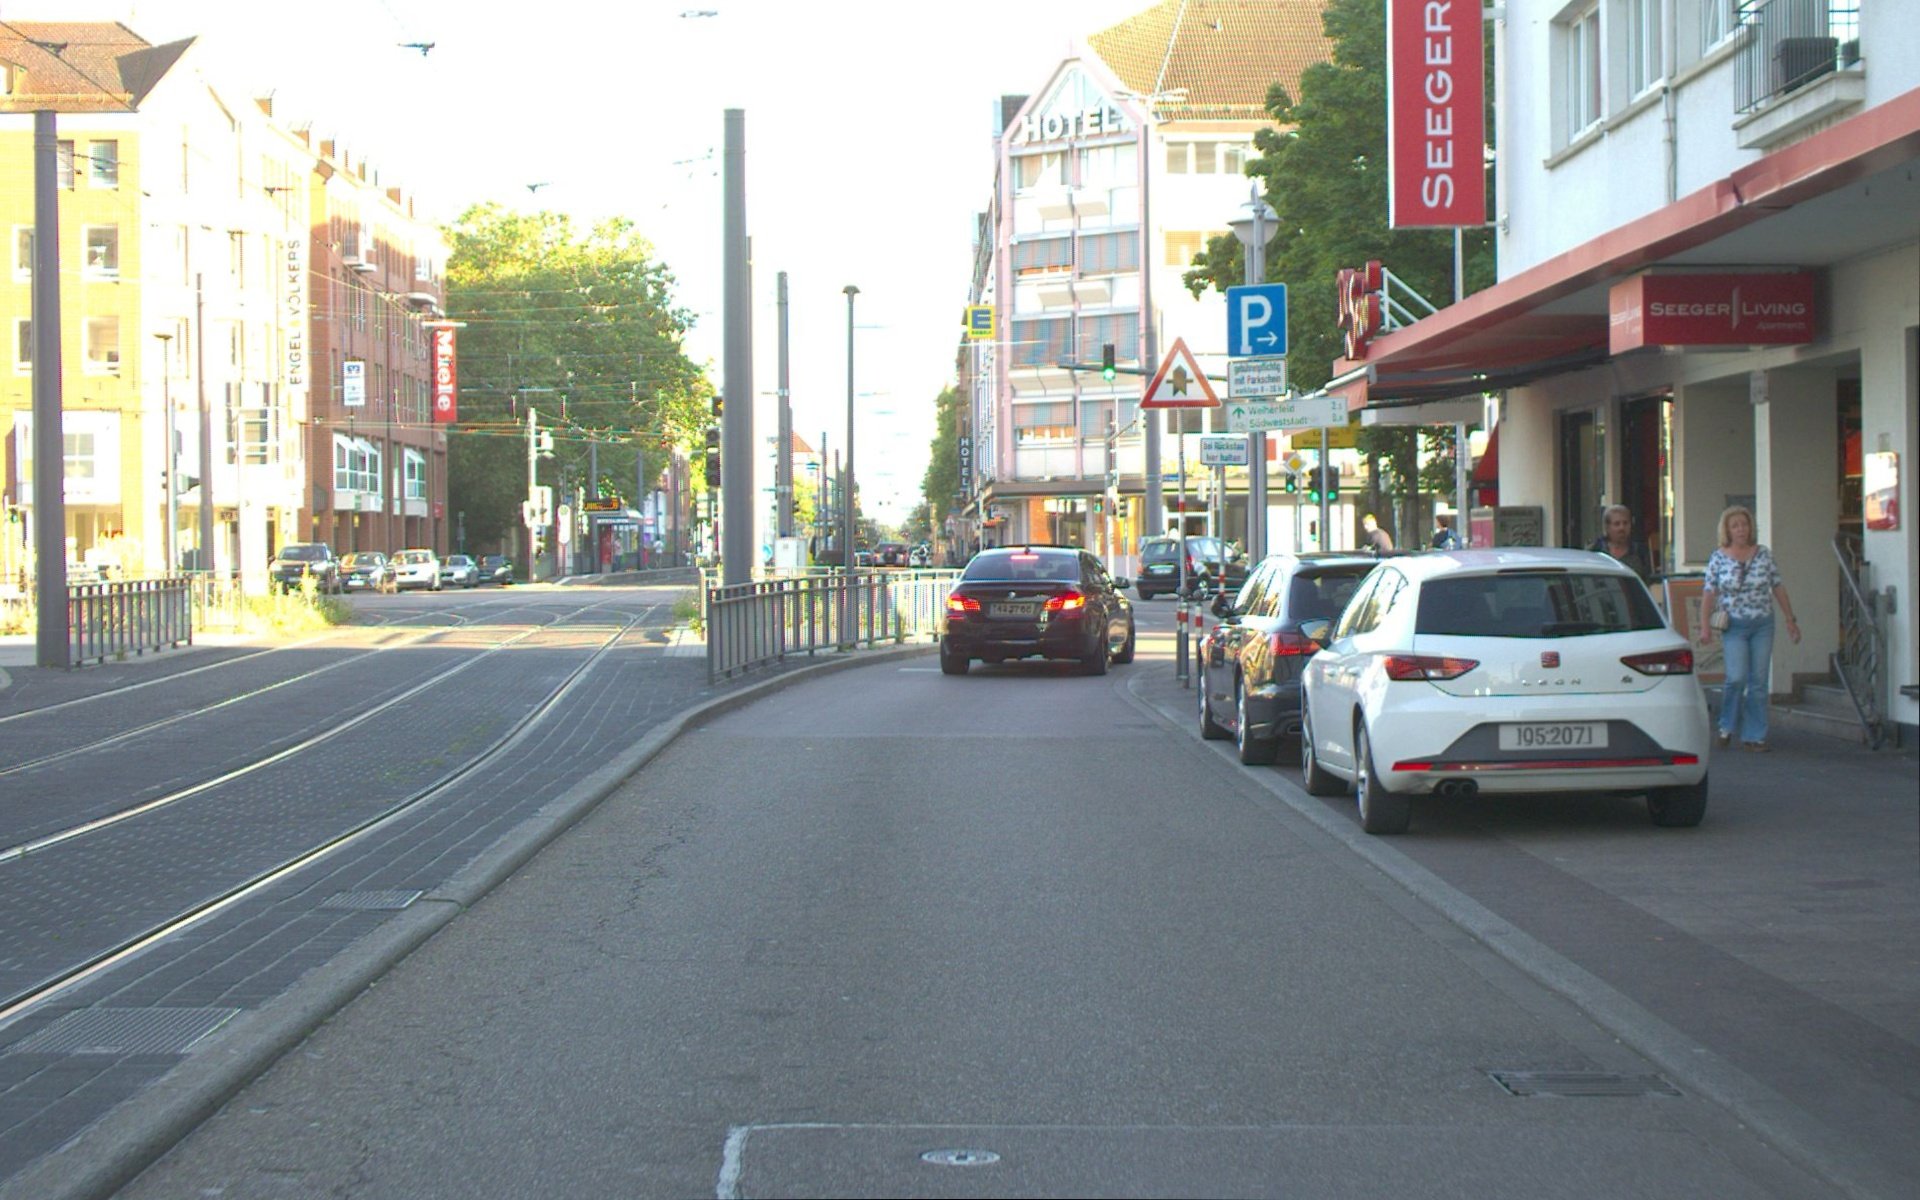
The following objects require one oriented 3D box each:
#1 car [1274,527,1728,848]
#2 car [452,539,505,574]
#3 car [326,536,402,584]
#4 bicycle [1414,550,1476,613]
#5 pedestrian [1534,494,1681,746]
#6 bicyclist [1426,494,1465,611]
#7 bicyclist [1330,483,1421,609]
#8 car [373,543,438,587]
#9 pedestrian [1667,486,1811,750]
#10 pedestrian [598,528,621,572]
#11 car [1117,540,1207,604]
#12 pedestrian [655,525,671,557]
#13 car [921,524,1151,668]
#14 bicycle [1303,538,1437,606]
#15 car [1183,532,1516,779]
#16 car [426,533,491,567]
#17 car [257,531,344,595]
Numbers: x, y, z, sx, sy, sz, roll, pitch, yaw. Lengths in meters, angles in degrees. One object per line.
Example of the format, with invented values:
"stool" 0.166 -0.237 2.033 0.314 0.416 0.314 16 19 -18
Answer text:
"car" 2.826 0.388 18.792 1.785 1.507 4.052 -2 1 0
"car" -22.140 -2.024 158.251 1.993 1.579 4.480 -1 1 -3
"car" -20.139 -1.379 116.352 1.993 1.579 4.588 -1 1 -3
"bicycle" 7.618 -0.302 54.042 0.464 0.967 1.801 -1 1 -9
"pedestrian" 4.543 0.130 24.172 0.827 1.712 0.843 -2 1 0
"bicyclist" 7.627 -0.742 54.010 0.464 1.824 0.559 -1 1 -9
"bicyclist" 6.362 -0.827 52.707 0.838 1.910 1.114 -1 1 -37
"car" -20.871 -1.339 129.489 1.993 1.579 4.114 -1 1 -3
"pedestrian" 5.269 0.112 23.295 0.728 1.735 0.863 -2 1 0
"pedestrian" -16.153 -2.320 158.389 0.988 2.007 0.726 1 1 -2
"car" 5.098 -0.726 87.172 1.993 1.546 4.000 -1 1 0
"pedestrian" -15.751 -3.123 182.155 0.723 1.675 0.991 0 1 1
"car" 0.944 -0.083 40.148 1.994 1.579 3.998 -1 1 11
"bicycle" 6.286 -0.441 52.815 0.838 1.016 2.077 -1 1 -38
"car" 2.618 0.305 24.085 1.735 1.507 4.686 -2 1 0
"car" -21.281 -2.134 146.111 1.669 1.443 4.201 0 1 7
"car" -20.449 -1.171 106.784 1.993 1.895 4.812 -1 1 -3
